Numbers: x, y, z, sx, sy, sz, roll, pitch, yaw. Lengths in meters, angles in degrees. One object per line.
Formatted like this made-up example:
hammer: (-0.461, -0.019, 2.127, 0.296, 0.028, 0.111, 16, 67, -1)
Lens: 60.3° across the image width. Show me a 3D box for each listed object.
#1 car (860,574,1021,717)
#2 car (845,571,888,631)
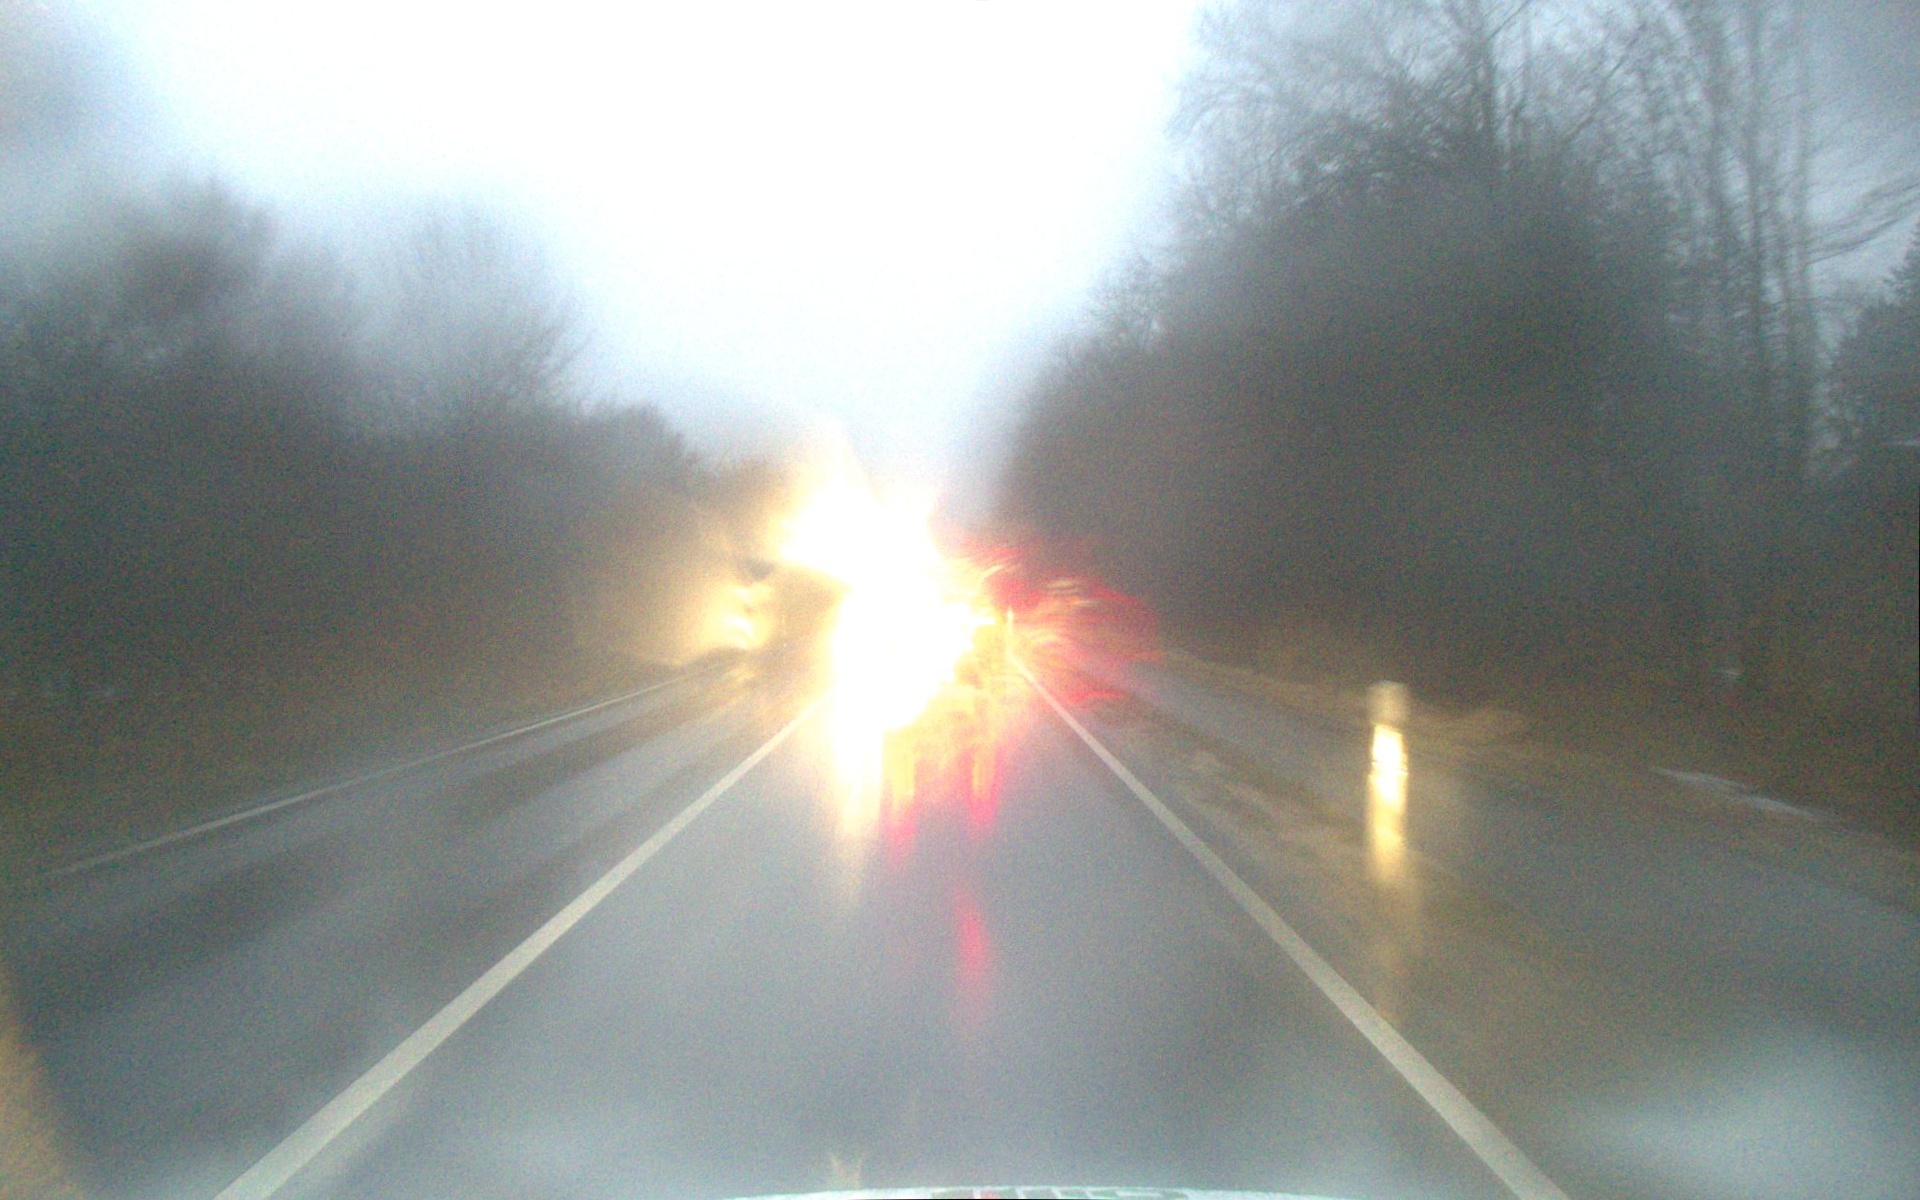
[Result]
car: (-0.297, 0.627, 24.704, 2.153, 1.910, 4.826, 0, 0, -1)
car: (-4.723, 0.047, 82.752, 2.033, 2.860, 6.646, 0, 0, -5)
